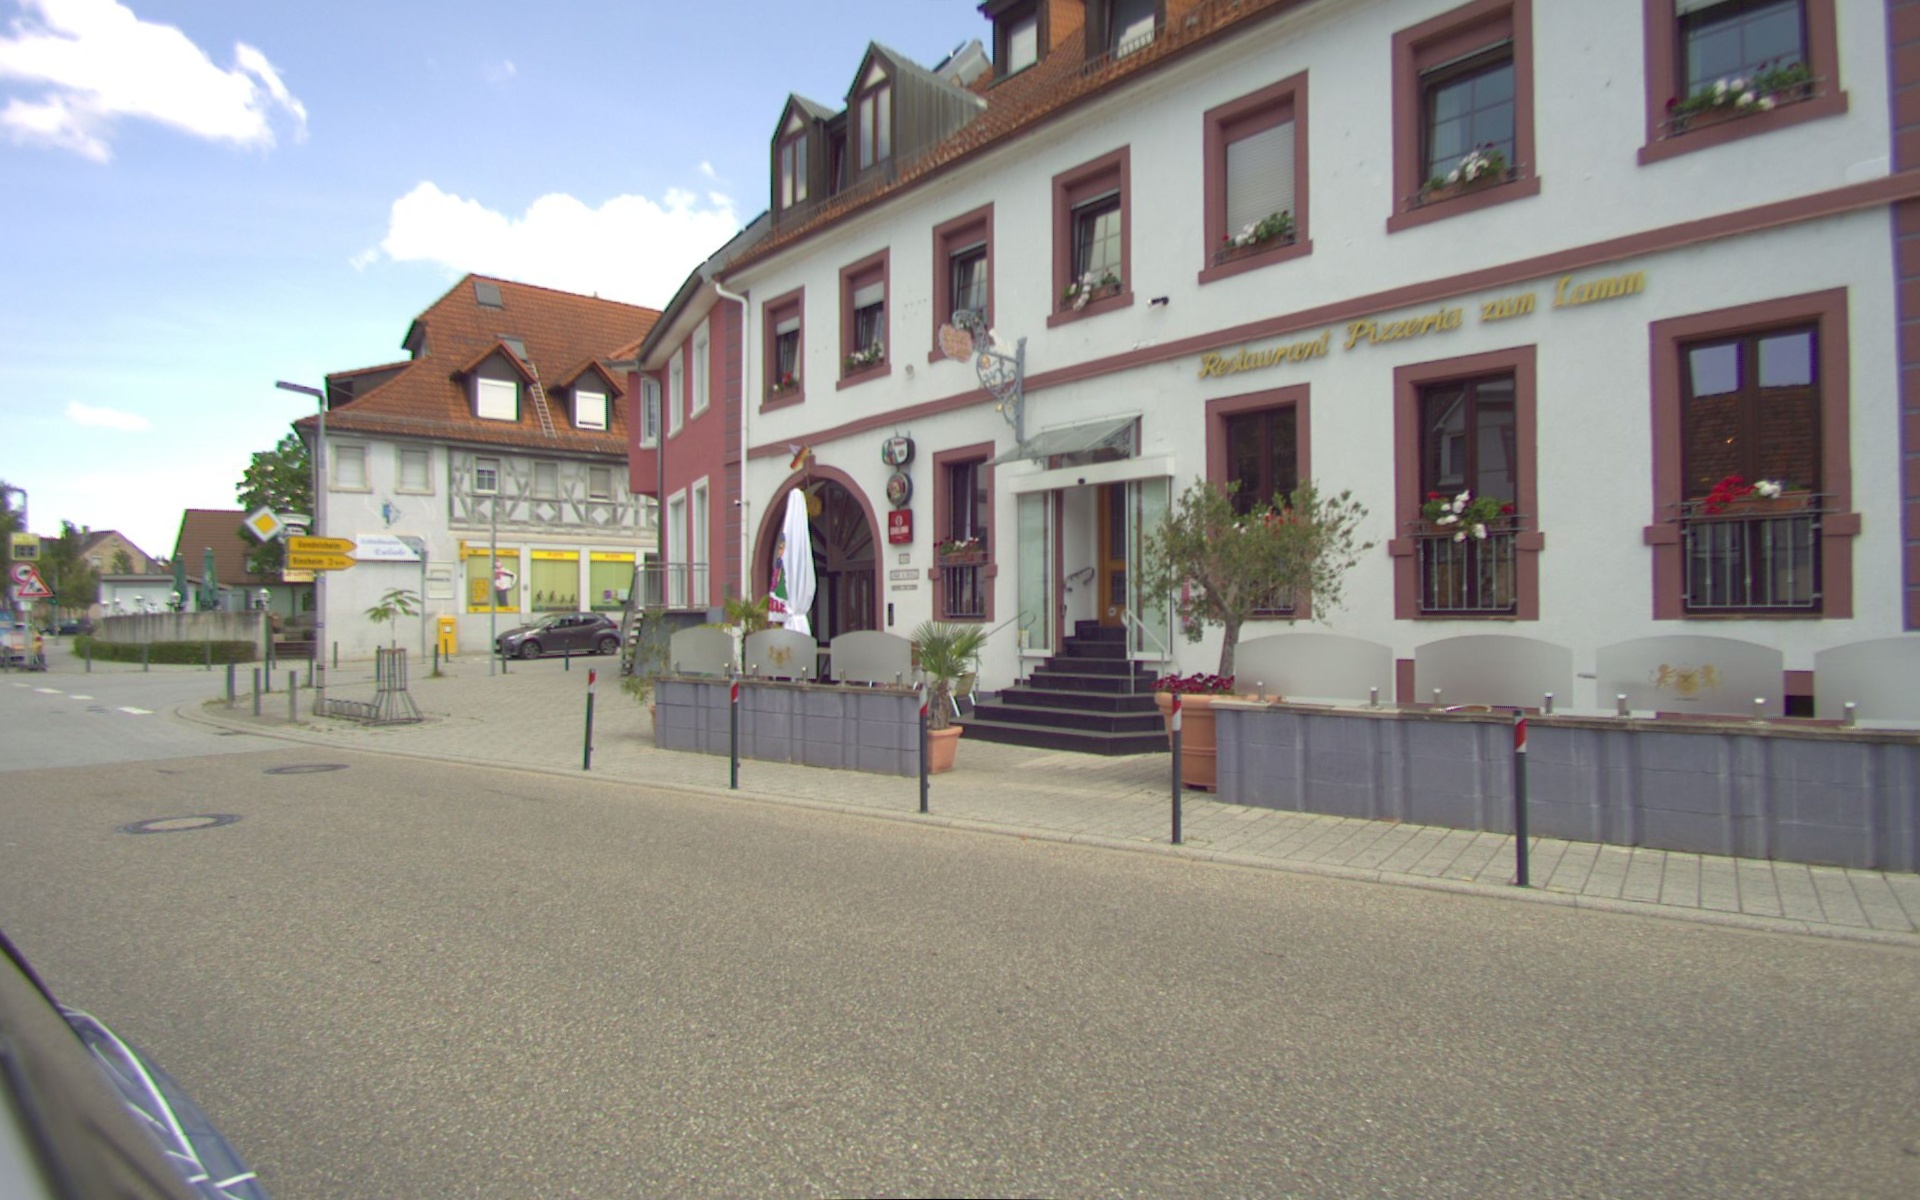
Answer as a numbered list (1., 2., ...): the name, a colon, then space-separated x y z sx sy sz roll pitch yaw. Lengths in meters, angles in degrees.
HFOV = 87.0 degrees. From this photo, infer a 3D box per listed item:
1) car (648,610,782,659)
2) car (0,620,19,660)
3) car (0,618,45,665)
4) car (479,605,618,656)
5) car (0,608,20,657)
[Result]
1. car: -7.760 1.043 32.293 1.784 1.422 3.832 -1 0 44
2. car: -36.659 1.494 38.007 1.795 1.434 4.540 0 -1 -44
3. car: -31.782 1.365 33.661 3.962 1.486 1.650 -1 -1 42
4. car: -13.586 0.970 33.518 3.891 1.529 1.776 -1 0 -40
5. car: -41.801 1.392 43.454 1.962 2.005 5.051 0 -1 -42
